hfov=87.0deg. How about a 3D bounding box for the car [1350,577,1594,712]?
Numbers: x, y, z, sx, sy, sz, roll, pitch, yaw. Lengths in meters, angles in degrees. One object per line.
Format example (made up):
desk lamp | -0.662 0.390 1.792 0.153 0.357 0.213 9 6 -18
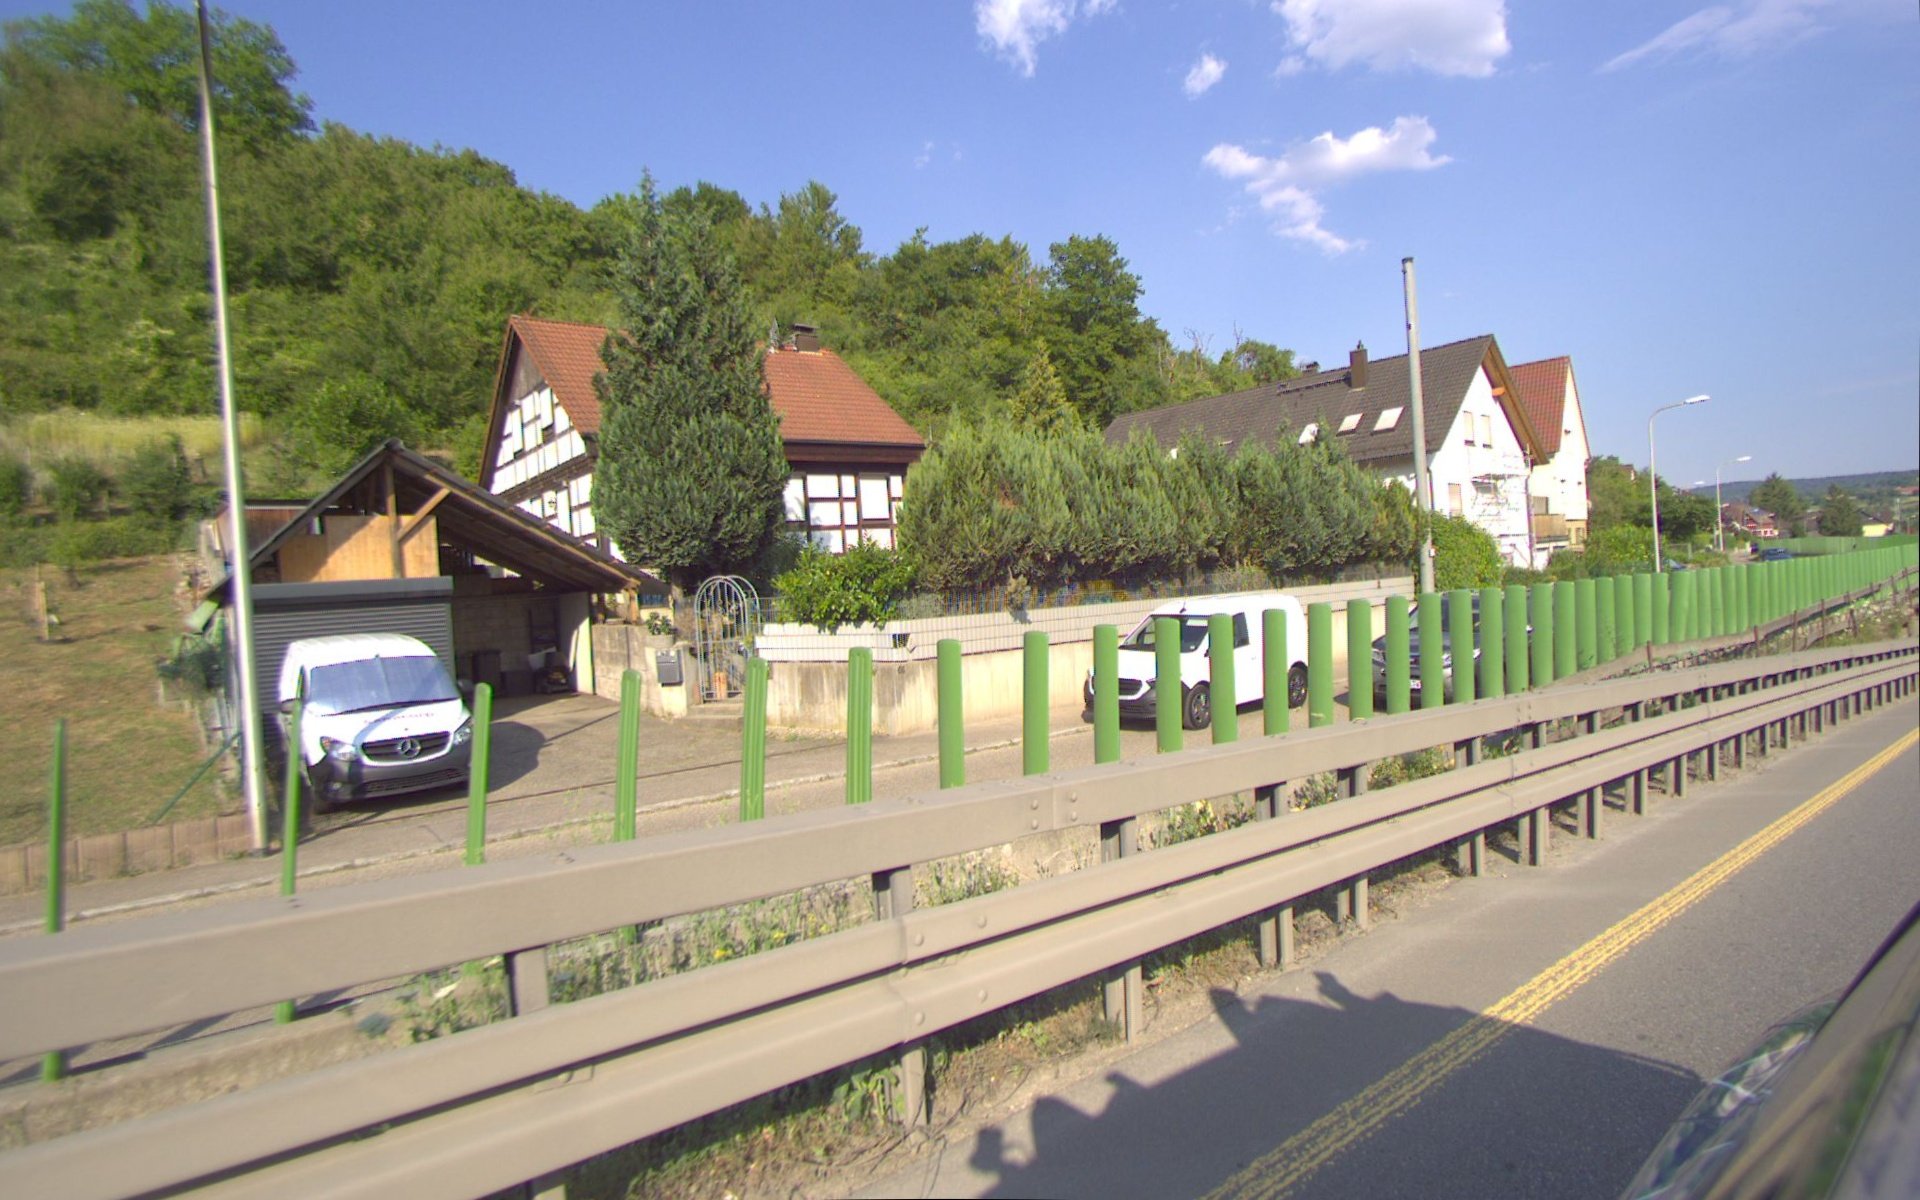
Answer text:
car | 8.062 0.639 15.790 4.173 1.836 1.885 -1 -3 -41

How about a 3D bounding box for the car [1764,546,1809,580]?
car | 55.183 -2.431 67.629 1.698 2.039 3.954 -3 -2 32

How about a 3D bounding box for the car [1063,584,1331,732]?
car | 3.831 0.800 15.932 4.363 1.894 1.809 -3 0 -41

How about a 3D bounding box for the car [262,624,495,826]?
car | -7.404 1.356 12.691 1.819 1.757 4.141 -4 4 -39
